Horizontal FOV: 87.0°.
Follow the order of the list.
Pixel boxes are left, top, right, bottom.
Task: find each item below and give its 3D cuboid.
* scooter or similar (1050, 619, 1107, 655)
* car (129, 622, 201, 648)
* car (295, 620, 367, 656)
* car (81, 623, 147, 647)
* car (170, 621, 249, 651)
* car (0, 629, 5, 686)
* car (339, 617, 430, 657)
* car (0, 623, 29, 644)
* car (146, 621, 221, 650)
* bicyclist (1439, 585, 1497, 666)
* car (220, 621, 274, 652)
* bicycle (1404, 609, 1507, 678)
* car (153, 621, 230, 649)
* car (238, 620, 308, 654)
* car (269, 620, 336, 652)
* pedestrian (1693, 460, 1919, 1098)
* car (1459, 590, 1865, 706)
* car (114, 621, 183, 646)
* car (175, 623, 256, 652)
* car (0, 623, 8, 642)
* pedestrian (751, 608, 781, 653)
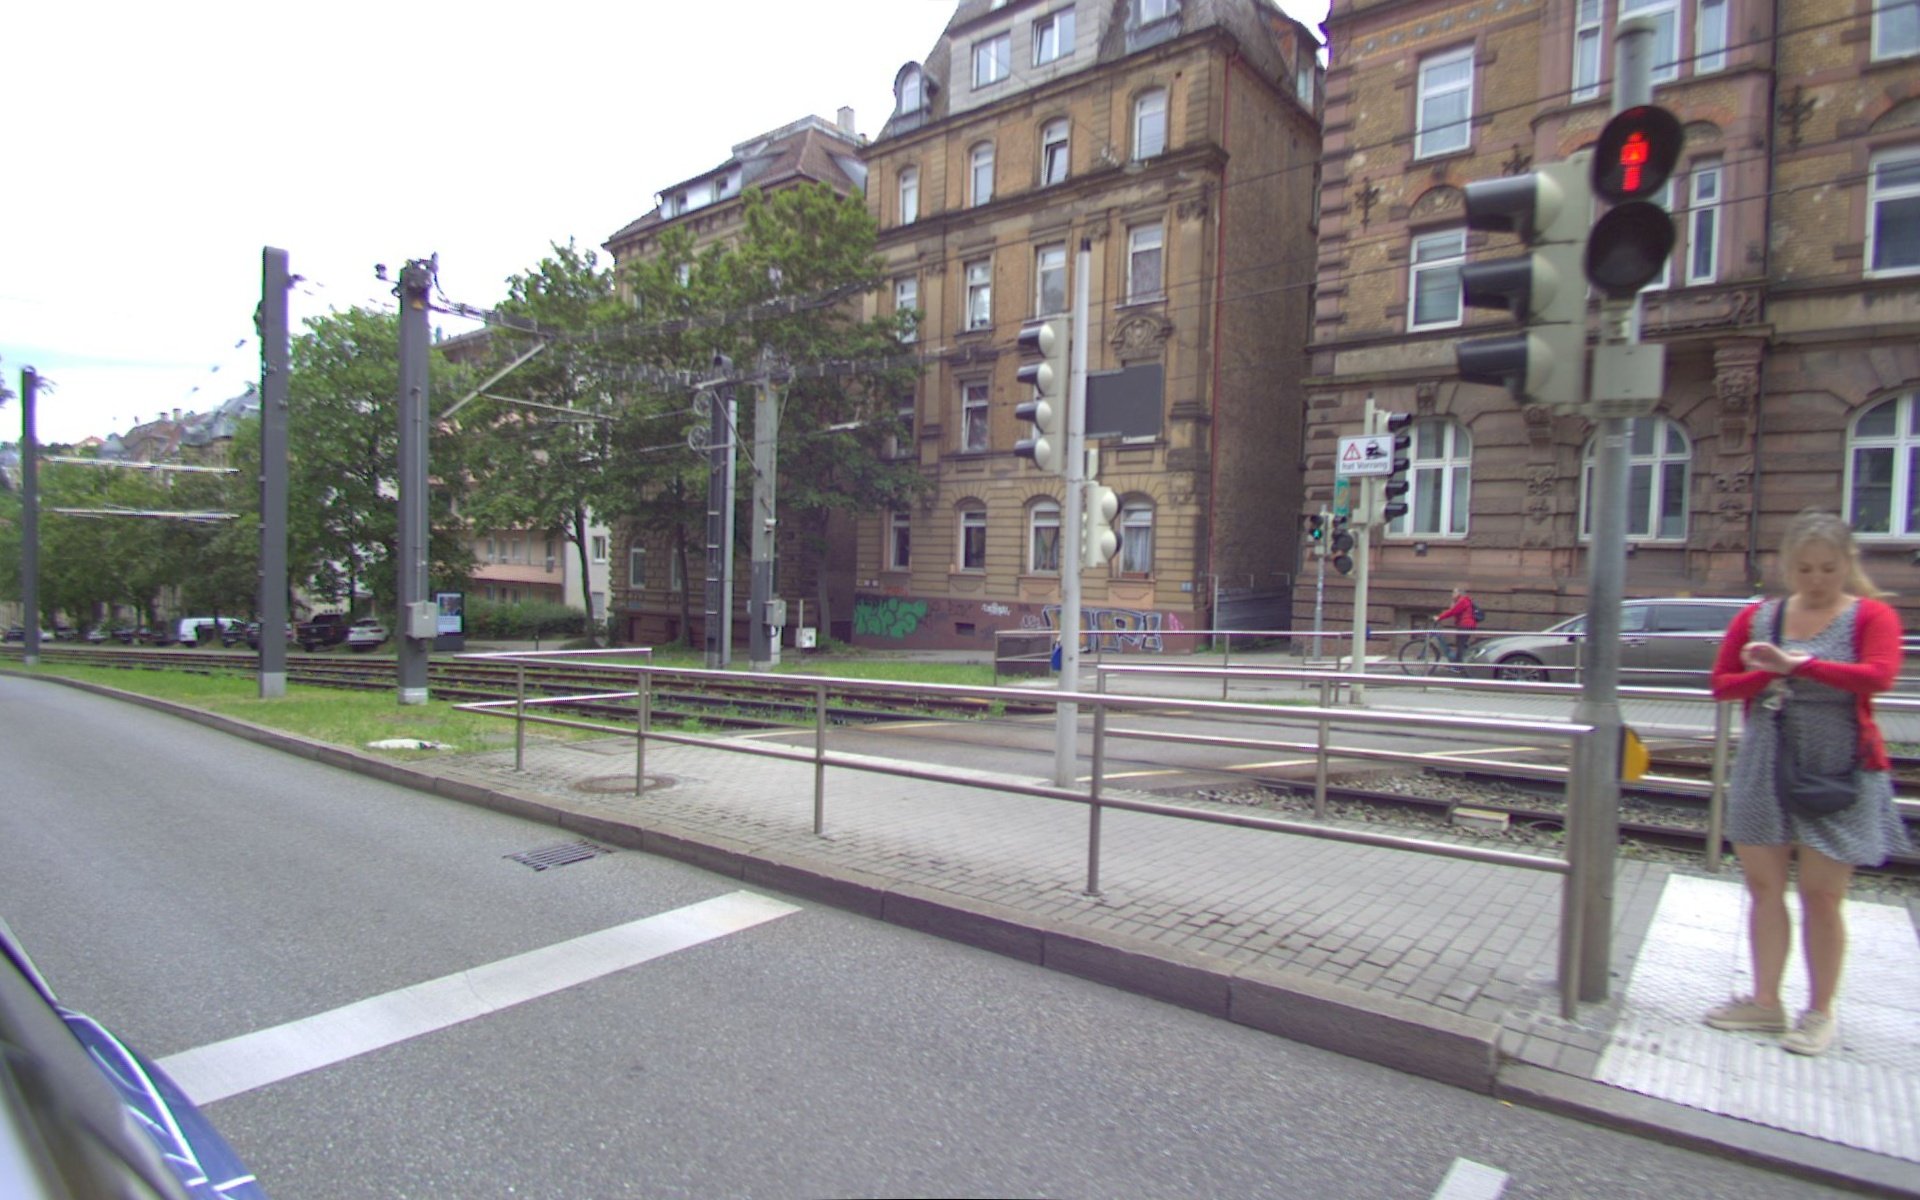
[{"bbox_3d":[3.181,0.990,27.276,0.423,0.949,1.588,0,-1,-45],"label":"scooter or similar"},{"bbox_3d":[-59.062,2.594,75.213,1.774,1.828,3.826,-1,-1,25],"label":"car"},{"bbox_3d":[-31.830,1.873,51.328,1.756,1.701,3.866,-1,-1,-10],"label":"car"},{"bbox_3d":[-70.173,2.895,84.008,1.774,1.828,3.826,-1,-1,25],"label":"car"},{"bbox_3d":[-48.592,2.289,65.572,1.769,1.828,3.836,-1,-1,17],"label":"car"},{"bbox_3d":[-25.945,1.518,25.603,4.224,1.408,1.975,-2,1,38],"label":"car"},{"bbox_3d":[-27.130,1.711,47.834,1.764,1.700,3.848,-1,0,8],"label":"car"},{"bbox_3d":[-93.437,3.269,99.487,3.990,2.029,1.977,-2,-1,35],"label":"car"},{"bbox_3d":[-54.678,2.471,71.338,1.774,1.827,3.826,-1,1,25],"label":"car"},{"bbox_3d":[9.526,0.474,18.990,0.812,1.491,0.611,-2,-1,42],"label":"bicyclist"},{"bbox_3d":[-43.003,2.185,61.112,1.754,1.700,3.871,-1,0,-22],"label":"car"},{"bbox_3d":[9.317,0.809,19.068,1.602,1.232,0.617,-2,-1,43],"label":"bicycle"},{"bbox_3d":[-52.950,2.379,69.797,1.774,1.828,3.826,-1,-1,25],"label":"car"},{"bbox_3d":[-38.738,2.039,57.142,1.756,1.700,3.866,-1,1,-9],"label":"car"},{"bbox_3d":[-36.509,1.971,56.311,1.756,1.701,3.866,-1,-1,-10],"label":"car"},{"bbox_3d":[2.699,0.474,3.006,0.670,1.693,0.686,-1,-1,-41],"label":"pedestrian"},{"bbox_3d":[9.913,0.633,14.621,4.554,1.429,1.864,-2,-1,39],"label":"car"},{"bbox_3d":[-63.183,2.599,78.886,1.774,1.828,3.826,-1,-1,25],"label":"car"},{"bbox_3d":[-46.898,2.327,63.819,1.769,1.701,3.836,-1,-1,17],"label":"car"},{"bbox_3d":[-103.400,3.457,108.234,3.999,2.029,1.972,-2,-1,42],"label":"car"},{"bbox_3d":[-6.628,1.034,34.625,0.740,1.524,0.681,-1,1,42],"label":"pedestrian"}]
